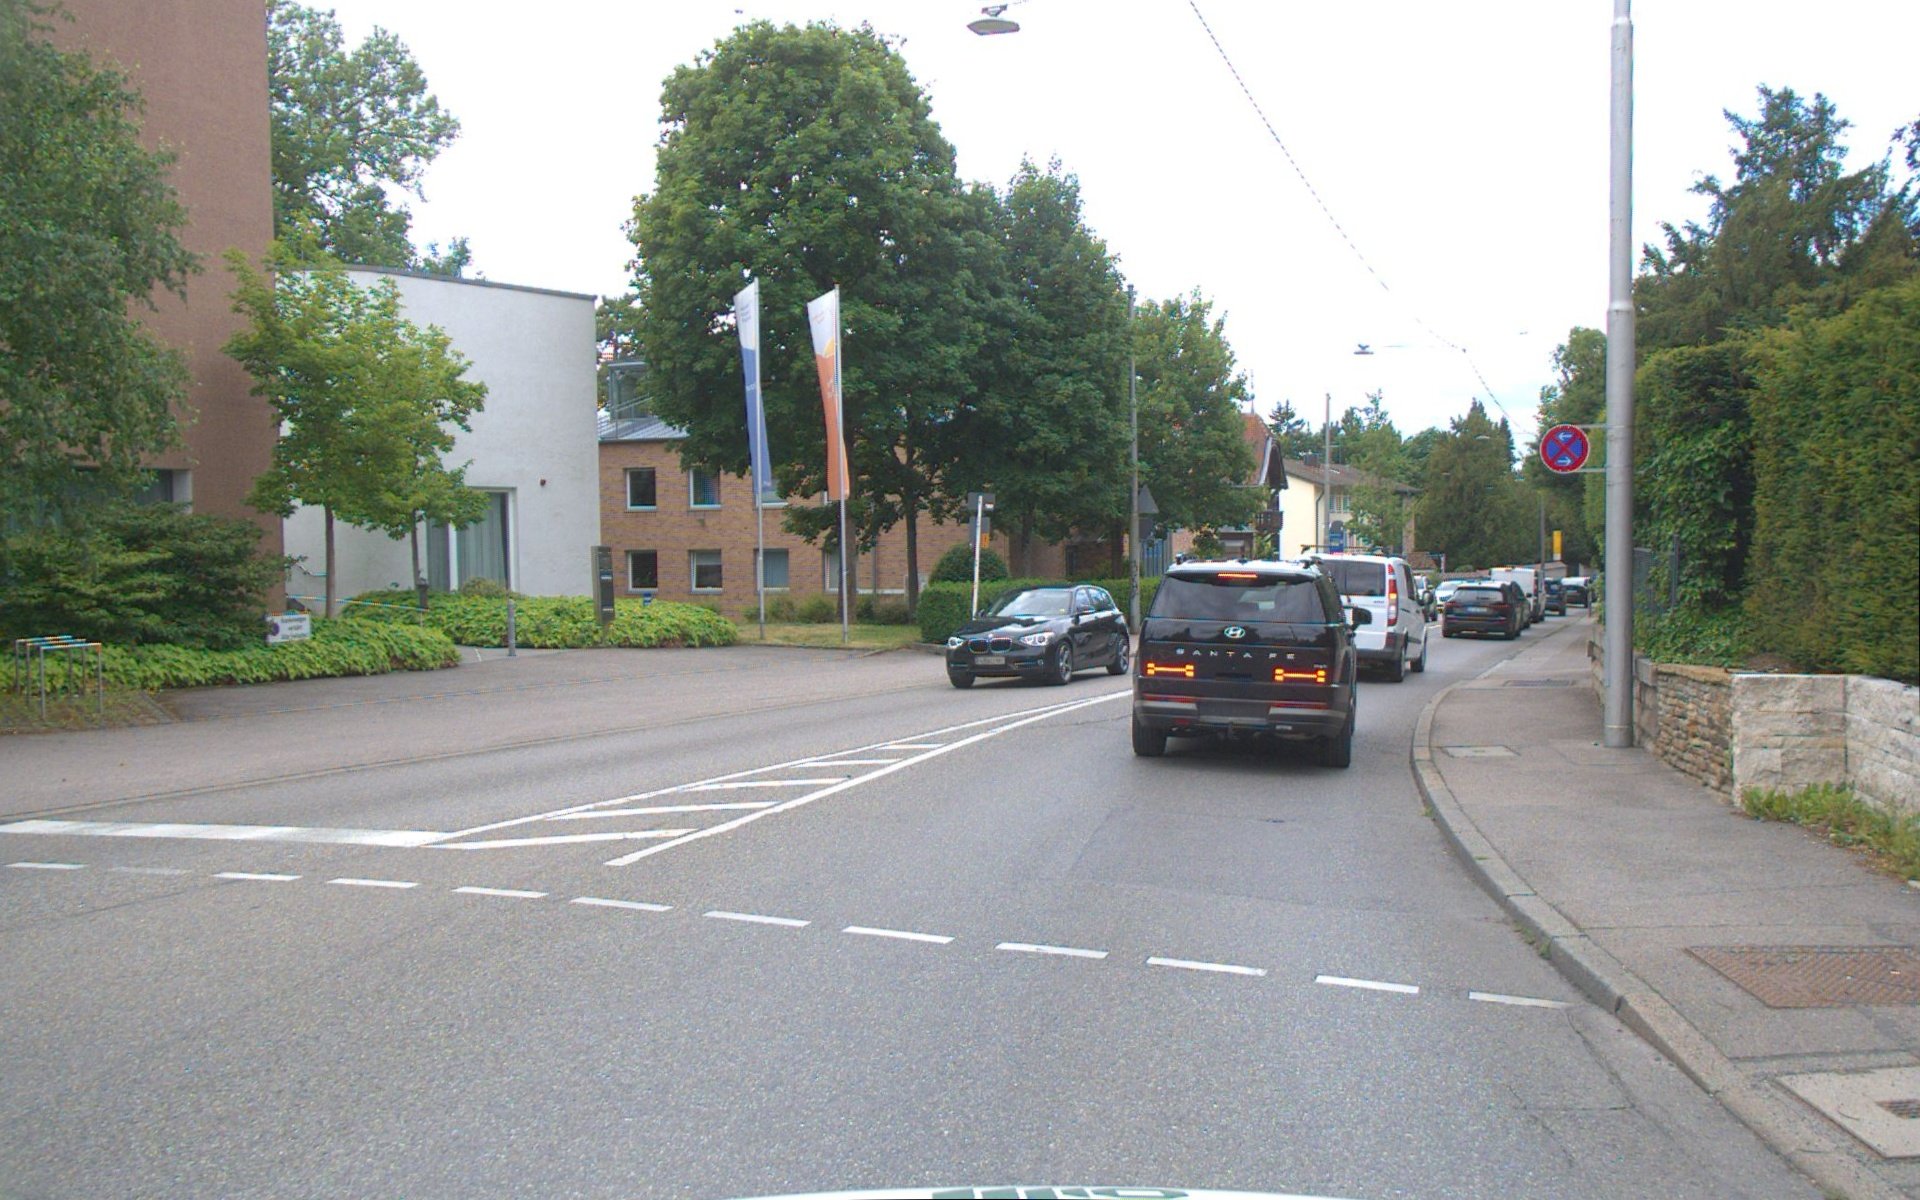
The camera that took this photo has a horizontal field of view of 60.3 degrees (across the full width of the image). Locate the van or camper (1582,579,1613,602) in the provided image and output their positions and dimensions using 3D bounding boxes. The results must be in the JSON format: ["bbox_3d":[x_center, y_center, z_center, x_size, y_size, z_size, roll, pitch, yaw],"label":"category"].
[{"bbox_3d":[47.470,-0.728,123.050,1.953,1.680,3.999,-1,0,24],"label":"van or camper"}]

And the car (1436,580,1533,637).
[{"bbox_3d":[14.090,0.208,44.290,1.954,1.429,3.997,0,0,26],"label":"car"}]

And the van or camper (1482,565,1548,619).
[{"bbox_3d":[20.728,-0.306,61.699,1.953,1.920,3.999,-1,0,23],"label":"van or camper"}]

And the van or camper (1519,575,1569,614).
[{"bbox_3d":[25.972,-0.257,73.669,1.952,1.657,4.002,-1,0,18],"label":"van or camper"}]

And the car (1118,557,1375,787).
[{"bbox_3d":[2.799,0.512,15.353,1.916,1.742,4.227,3,2,15],"label":"car"}]

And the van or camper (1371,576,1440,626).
[{"bbox_3d":[15.634,0.012,57.928,1.952,1.635,4.001,-1,0,20],"label":"van or camper"}]

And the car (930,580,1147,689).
[{"bbox_3d":[1.262,0.462,24.554,1.728,1.433,3.997,-2,0,26],"label":"car"}]

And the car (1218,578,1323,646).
[{"bbox_3d":[7.450,0.266,39.450,1.661,1.465,3.756,-3,0,23],"label":"car"}]

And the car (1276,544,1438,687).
[{"bbox_3d":[6.505,0.194,26.759,1.917,1.989,4.224,4,2,21],"label":"car"}]

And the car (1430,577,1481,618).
[{"bbox_3d":[23.254,-0.142,77.569,1.953,1.848,4.000,0,1,22],"label":"car"}]
